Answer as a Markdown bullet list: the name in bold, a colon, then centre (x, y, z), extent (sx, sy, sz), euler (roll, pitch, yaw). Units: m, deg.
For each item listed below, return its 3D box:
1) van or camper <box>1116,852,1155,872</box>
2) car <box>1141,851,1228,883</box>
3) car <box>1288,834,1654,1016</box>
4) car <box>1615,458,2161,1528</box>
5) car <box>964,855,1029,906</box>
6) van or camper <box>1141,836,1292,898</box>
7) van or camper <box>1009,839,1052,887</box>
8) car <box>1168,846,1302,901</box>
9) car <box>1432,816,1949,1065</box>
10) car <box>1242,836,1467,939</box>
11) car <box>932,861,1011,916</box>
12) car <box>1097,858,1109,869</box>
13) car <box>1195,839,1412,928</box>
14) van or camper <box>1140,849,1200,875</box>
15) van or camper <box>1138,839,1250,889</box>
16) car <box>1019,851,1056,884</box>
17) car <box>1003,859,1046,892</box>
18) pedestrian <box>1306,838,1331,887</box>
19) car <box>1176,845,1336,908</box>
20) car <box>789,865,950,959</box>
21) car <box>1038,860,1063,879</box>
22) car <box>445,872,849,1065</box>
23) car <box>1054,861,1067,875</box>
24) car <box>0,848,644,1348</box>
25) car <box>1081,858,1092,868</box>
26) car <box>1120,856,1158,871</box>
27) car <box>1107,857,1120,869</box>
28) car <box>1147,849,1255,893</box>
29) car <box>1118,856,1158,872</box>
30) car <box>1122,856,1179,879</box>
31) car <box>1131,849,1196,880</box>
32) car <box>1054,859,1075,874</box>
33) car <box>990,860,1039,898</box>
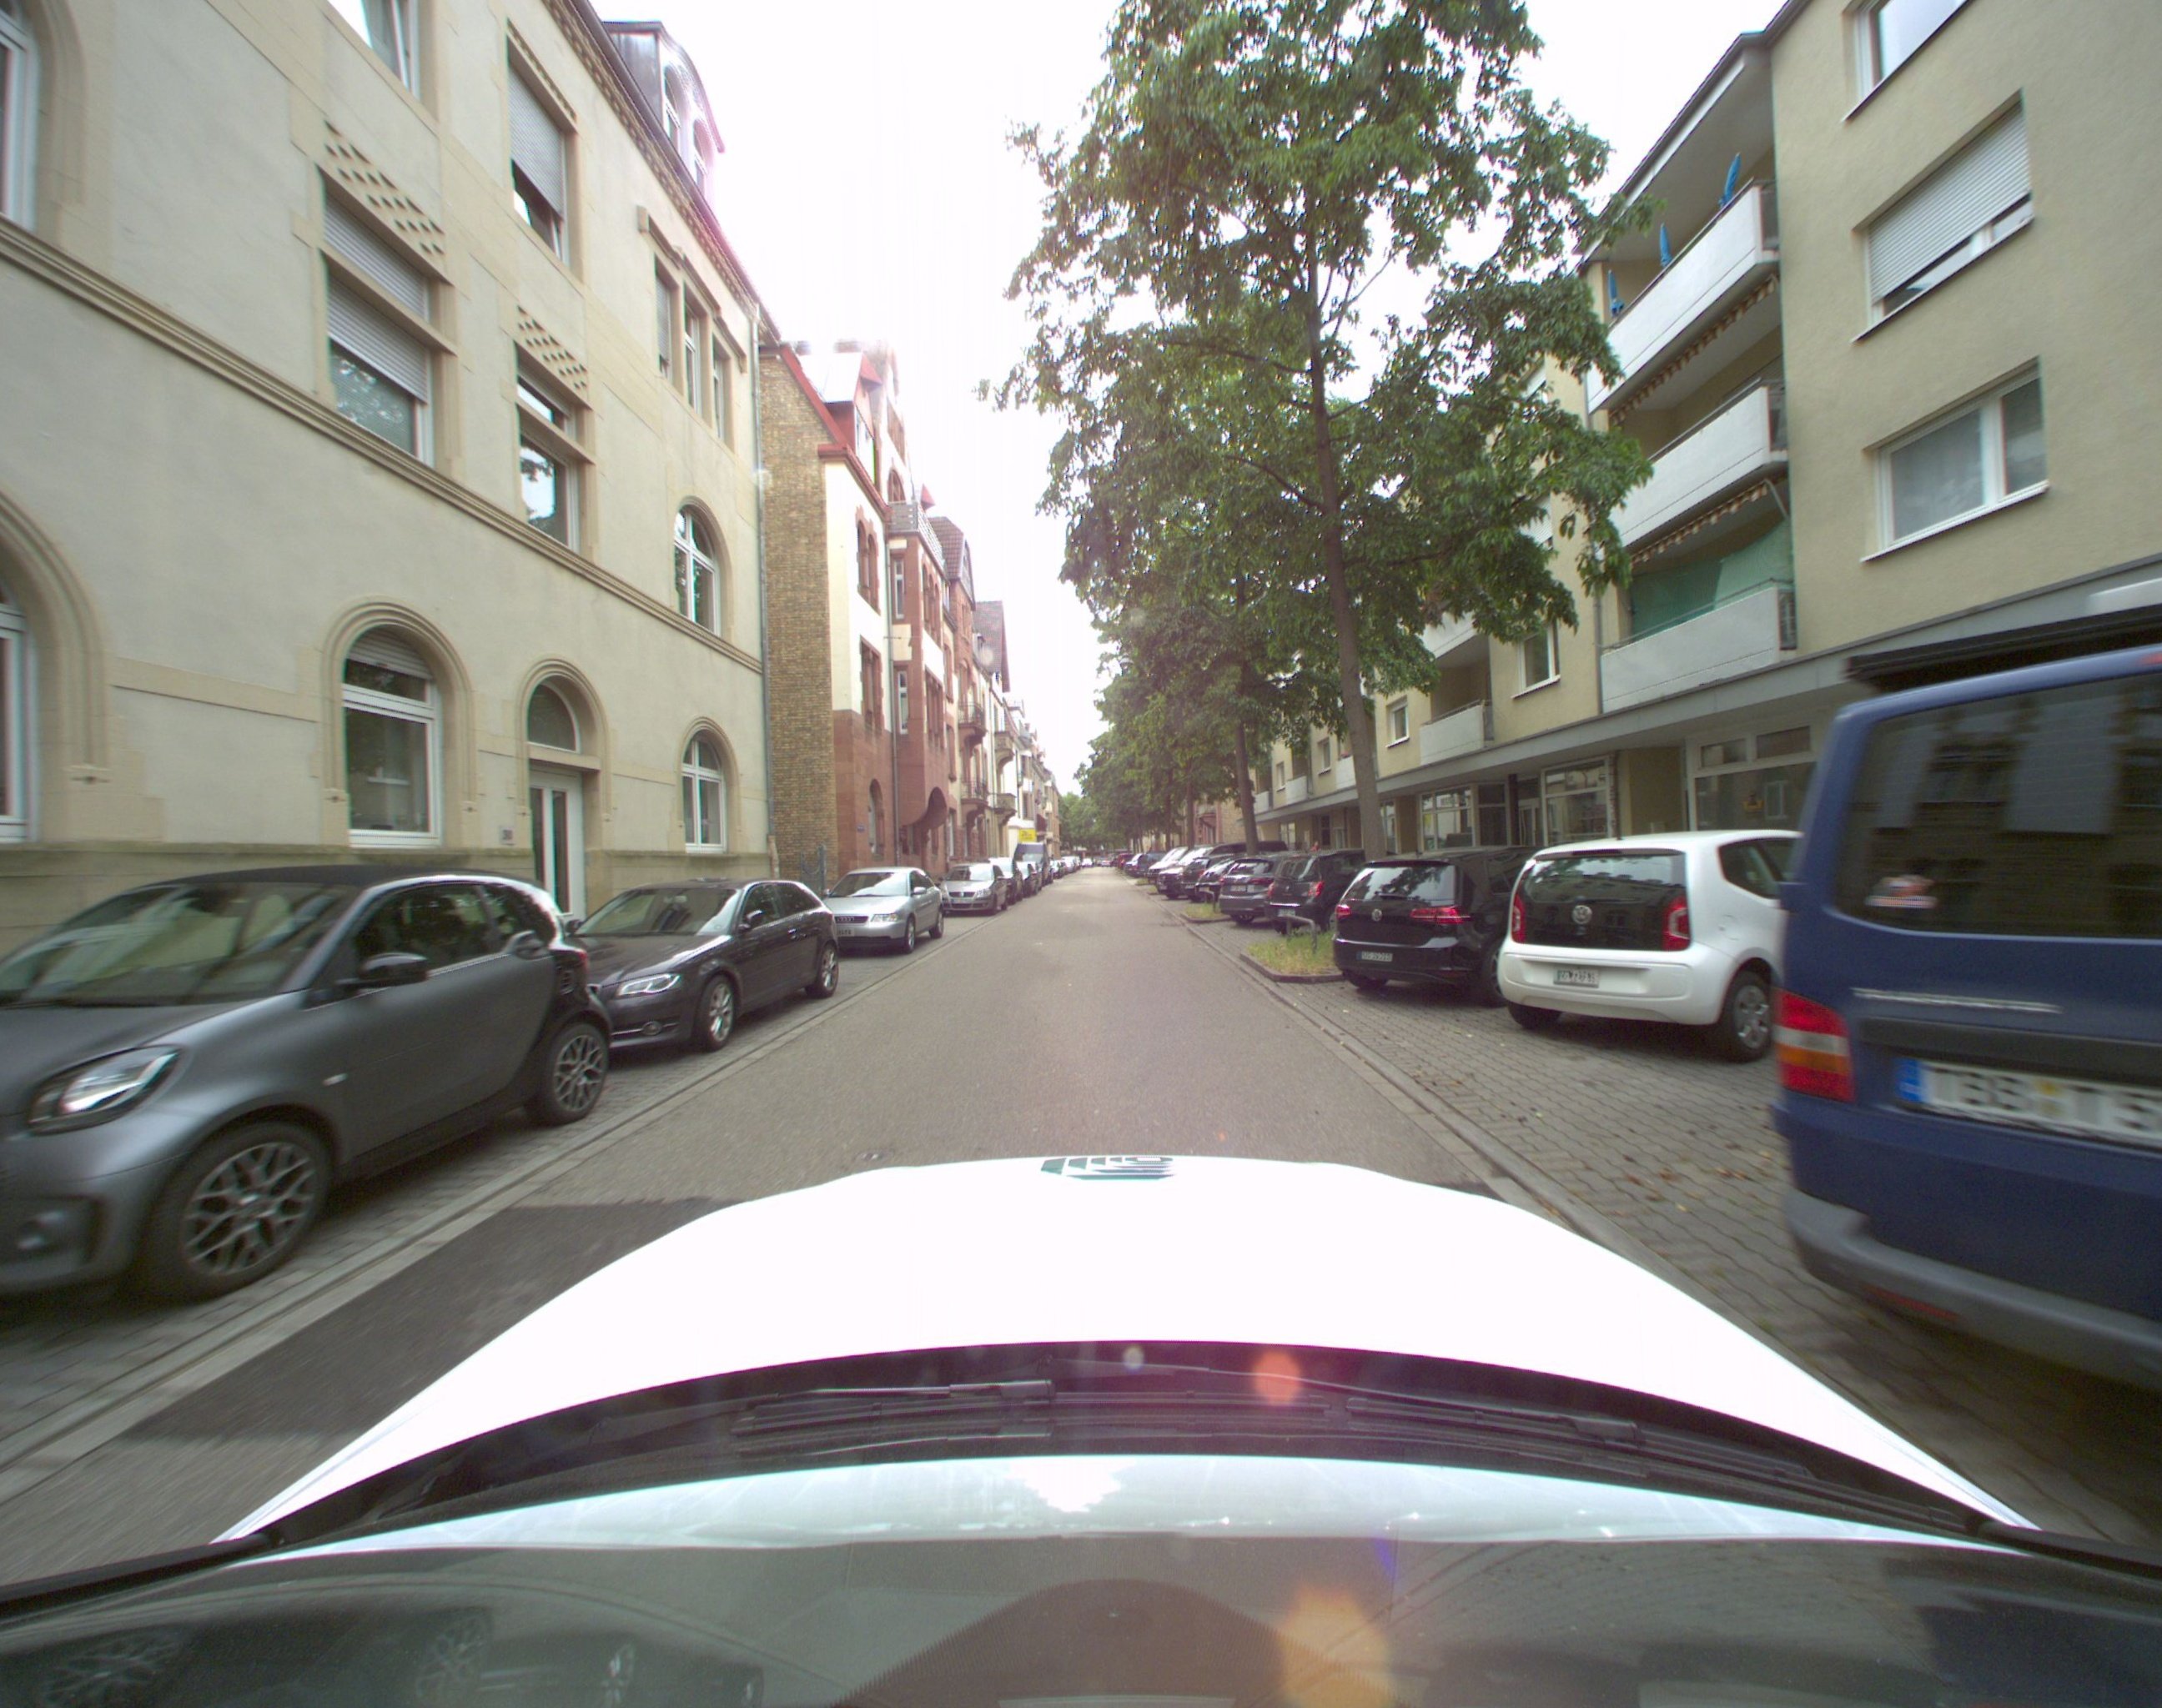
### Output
- **van or camper**: centre (6.398, 0.924, 95.961), extent (4.170, 2.085, 1.935), euler (-2, -1, -27)
- **car**: centre (5.582, 0.702, 43.888), extent (4.329, 1.392, 1.904), euler (-4, 0, -31)
- **car**: centre (4.350, 0.601, 8.845), extent (4.133, 1.442, 1.832), euler (-2, -1, -37)
- **car**: centre (4.136, 0.150, 3.013), extent (4.729, 2.196, 2.044), euler (-5, 1, -37)
- **car**: centre (-2.950, 0.889, 29.261), extent (1.780, 1.647, 4.362), euler (-1, 0, 1)
- **van or camper**: centre (4.902, 0.454, 29.461), extent (5.033, 1.869, 2.108), euler (-4, -1, -27)
- **van or camper**: centre (-2.929, 0.525, 48.701), extent (2.001, 2.651, 5.317), euler (-3, 0, 1)
- **car**: centre (5.020, 0.632, 26.517), extent (3.872, 1.502, 1.895), euler (-3, -1, -28)
- **car**: centre (5.063, 0.522, 6.746), extent (3.922, 1.465, 1.809), euler (-3, -1, -26)
- **car**: centre (4.881, 0.567, 14.648), extent (3.373, 1.496, 1.838), euler (-4, -1, -22)
- **car**: centre (-3.111, 0.951, 23.827), extent (1.656, 1.421, 3.930), euler (-1, 0, 1)
- **car**: centre (3.687, 1.655, 139.054), extent (1.986, 1.794, 4.000), euler (-1, -2, 1)
- **car**: centre (4.821, 0.597, 17.608), extent (4.236, 1.500, 1.958), euler (-4, -1, -27)
- **van or camper**: centre (7.619, 0.657, 69.563), extent (4.805, 2.138, 2.036), euler (-1, 0, -30)
- **van or camper**: centre (5.286, 0.463, 38.146), extent (4.752, 1.994, 1.983), euler (-3, -2, -24)
- **car**: centre (-2.824, 0.888, 54.354), extent (1.986, 2.013, 4.892), euler (-3, 0, 1)
- **car**: centre (-2.675, 1.030, 39.355), extent (1.661, 1.473, 4.001), euler (-1, -2, 1)
- **pedestrian**: centre (8.842, 0.311, 30.328), extent (0.622, 1.742, 0.849), euler (-3, -1, 1)
- **car**: centre (4.983, 0.628, 23.239), extent (4.059, 1.483, 1.932), euler (-3, -1, -25)
- **car**: centre (-3.600, 0.921, 14.642), extent (1.720, 1.386, 4.138), euler (-1, 0, 1)
- **car**: centre (-2.428, 1.226, 65.947), extent (1.783, 1.480, 4.022), euler (-1, -1, 1)
- **car**: centre (-3.735, 0.887, 7.923), extent (1.720, 1.387, 3.930), euler (-1, -2, 1)
- **car**: centre (-2.042, 1.424, 81.155), extent (1.132, 1.309, 3.260), euler (-3, 0, 1)
- **car**: centre (-3.810, 0.767, 4.045), extent (1.641, 1.570, 2.957), euler (-1, 0, 0)
- **car**: centre (1.016, 1.526, 142.635), extent (1.814, 1.645, 3.753), euler (-1, -2, 1)
- **car**: centre (6.143, 1.019, 86.629), extent (3.754, 1.465, 1.726), euler (-3, -1, -5)
- **car**: centre (5.287, 1.439, 132.994), extent (1.987, 2.014, 4.000), euler (1, 0, 1)
- **car**: centre (4.875, 0.697, 33.064), extent (4.021, 1.444, 1.824), euler (-4, 0, -31)
- **car**: centre (5.706, 1.004, 81.955), extent (3.754, 1.465, 1.726), euler (-3, -1, -5)
- **car**: centre (5.339, 1.045, 62.521), extent (4.035, 1.559, 1.866), euler (-2, -1, -30)
- **car**: centre (6.055, 0.761, 59.686), extent (4.197, 1.869, 1.981), euler (-4, -1, -29)
- **car**: centre (-1.769, 1.361, 89.010), extent (1.986, 1.475, 4.001), euler (-3, 0, 1)
- **car**: centre (-2.744, 1.022, 34.385), extent (1.628, 1.473, 4.001), euler (-1, 0, 1)
